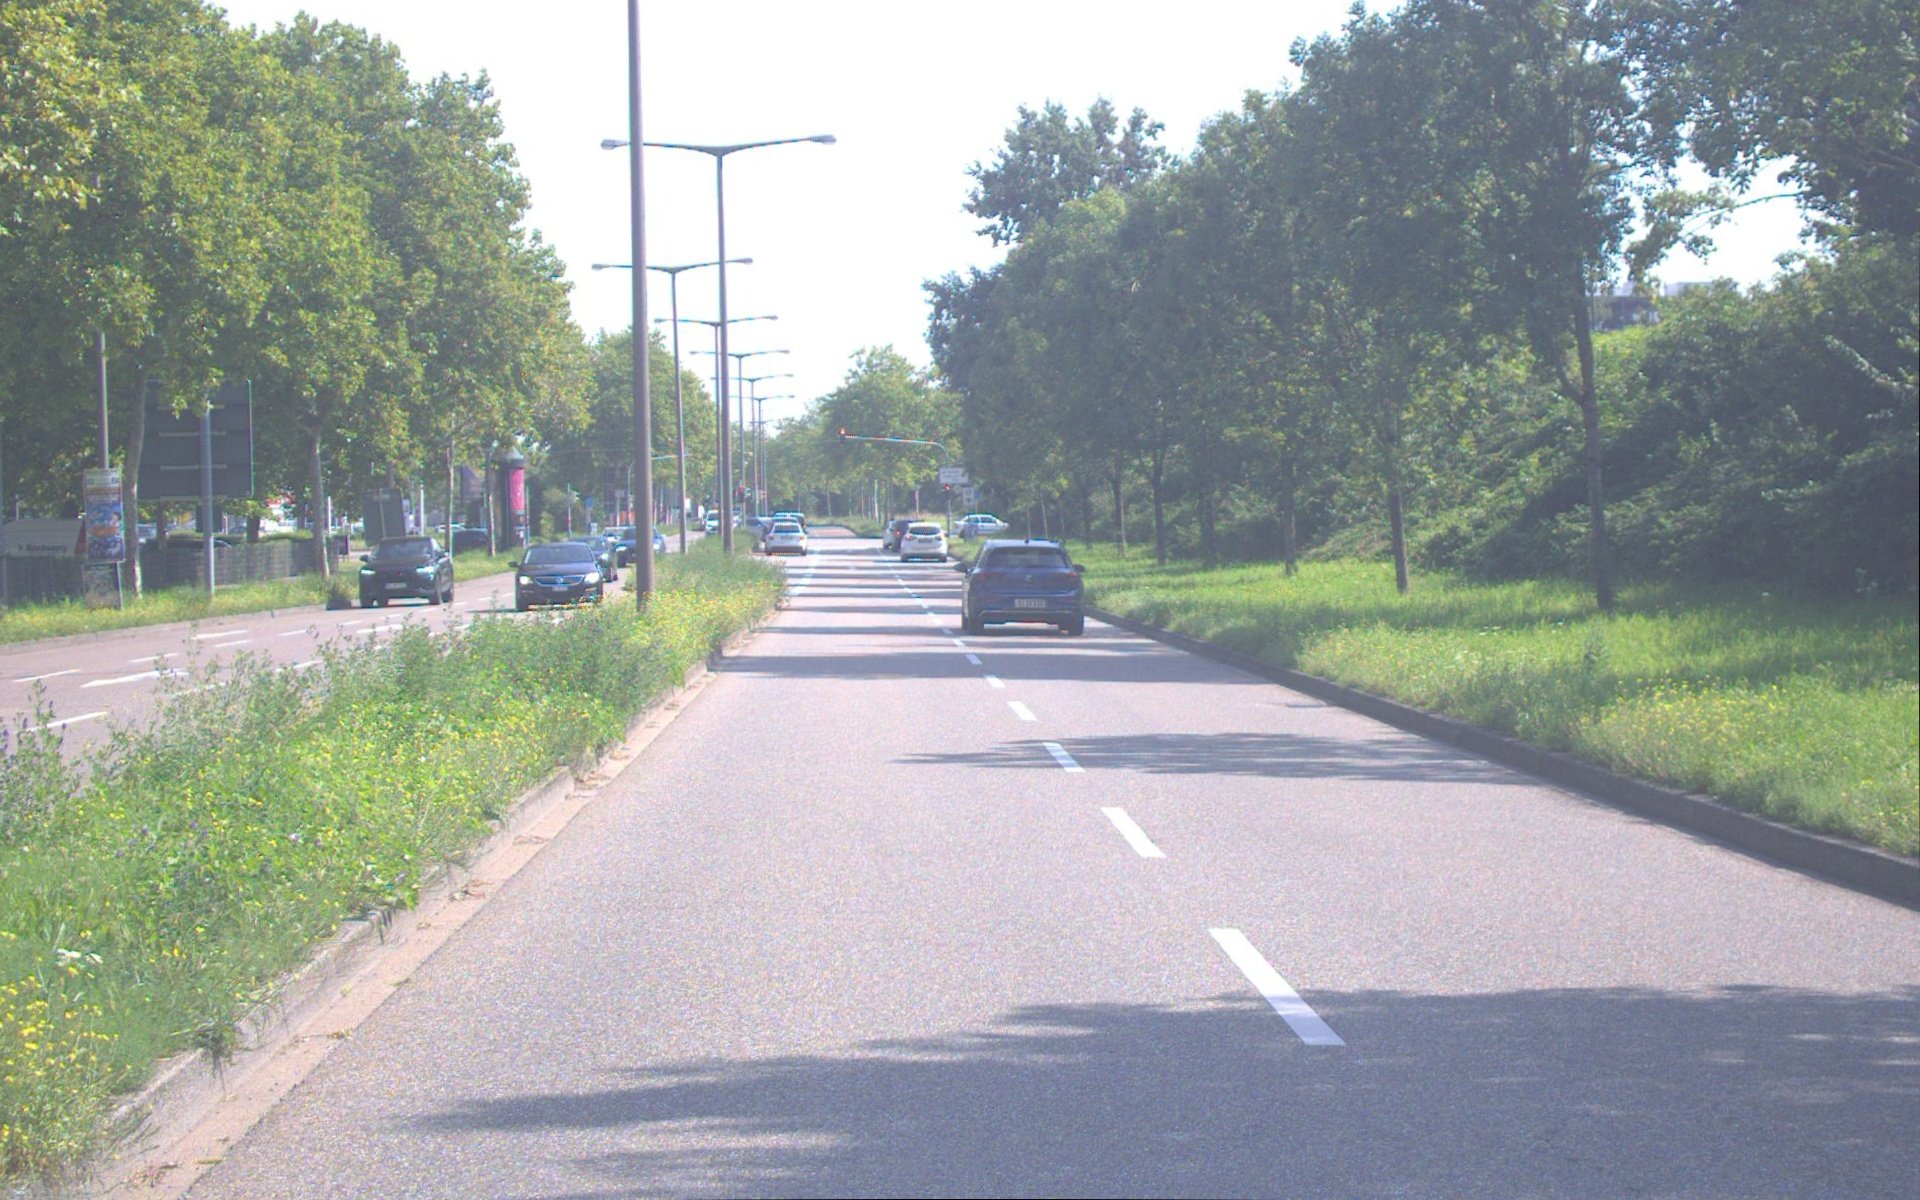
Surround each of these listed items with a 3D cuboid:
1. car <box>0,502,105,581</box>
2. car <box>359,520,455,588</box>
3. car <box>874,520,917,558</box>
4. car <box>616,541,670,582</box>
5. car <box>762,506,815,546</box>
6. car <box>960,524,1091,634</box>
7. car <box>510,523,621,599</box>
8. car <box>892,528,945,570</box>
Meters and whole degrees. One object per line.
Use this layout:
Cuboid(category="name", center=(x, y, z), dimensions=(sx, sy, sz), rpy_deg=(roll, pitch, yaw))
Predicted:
Cuboid(category="car", center=(-29.864, -1.861, 107.854), dimensions=(5.583, 2.329, 2.279), rpy_deg=(1, 4, -3))
Cuboid(category="car", center=(-13.384, -1.110, 83.382), dimensions=(1.845, 1.599, 4.611), rpy_deg=(0, 1, -3))
Cuboid(category="car", center=(-3.275, -3.111, 174.264), dimensions=(1.993, 1.648, 4.002), rpy_deg=(0, 5, -3))
Cuboid(category="car", center=(-12.432, -1.522, 134.911), dimensions=(1.993, 1.579, 4.347), rpy_deg=(-1, 1, -4))
Cuboid(category="car", center=(-7.571, -3.264, 152.299), dimensions=(1.993, 1.696, 4.000), rpy_deg=(-1, 1, 2))
Cuboid(category="car", center=(0.960, -0.350, 52.502), dimensions=(1.780, 1.423, 4.001), rpy_deg=(1, 4, -2))
Cuboid(category="car", center=(-8.217, -0.829, 71.887), dimensions=(1.845, 1.484, 4.644), rpy_deg=(-2, 1, -1))
Cuboid(category="car", center=(-1.703, -2.064, 139.695), dimensions=(1.993, 1.648, 4.000), rpy_deg=(-1, 1, -2))
